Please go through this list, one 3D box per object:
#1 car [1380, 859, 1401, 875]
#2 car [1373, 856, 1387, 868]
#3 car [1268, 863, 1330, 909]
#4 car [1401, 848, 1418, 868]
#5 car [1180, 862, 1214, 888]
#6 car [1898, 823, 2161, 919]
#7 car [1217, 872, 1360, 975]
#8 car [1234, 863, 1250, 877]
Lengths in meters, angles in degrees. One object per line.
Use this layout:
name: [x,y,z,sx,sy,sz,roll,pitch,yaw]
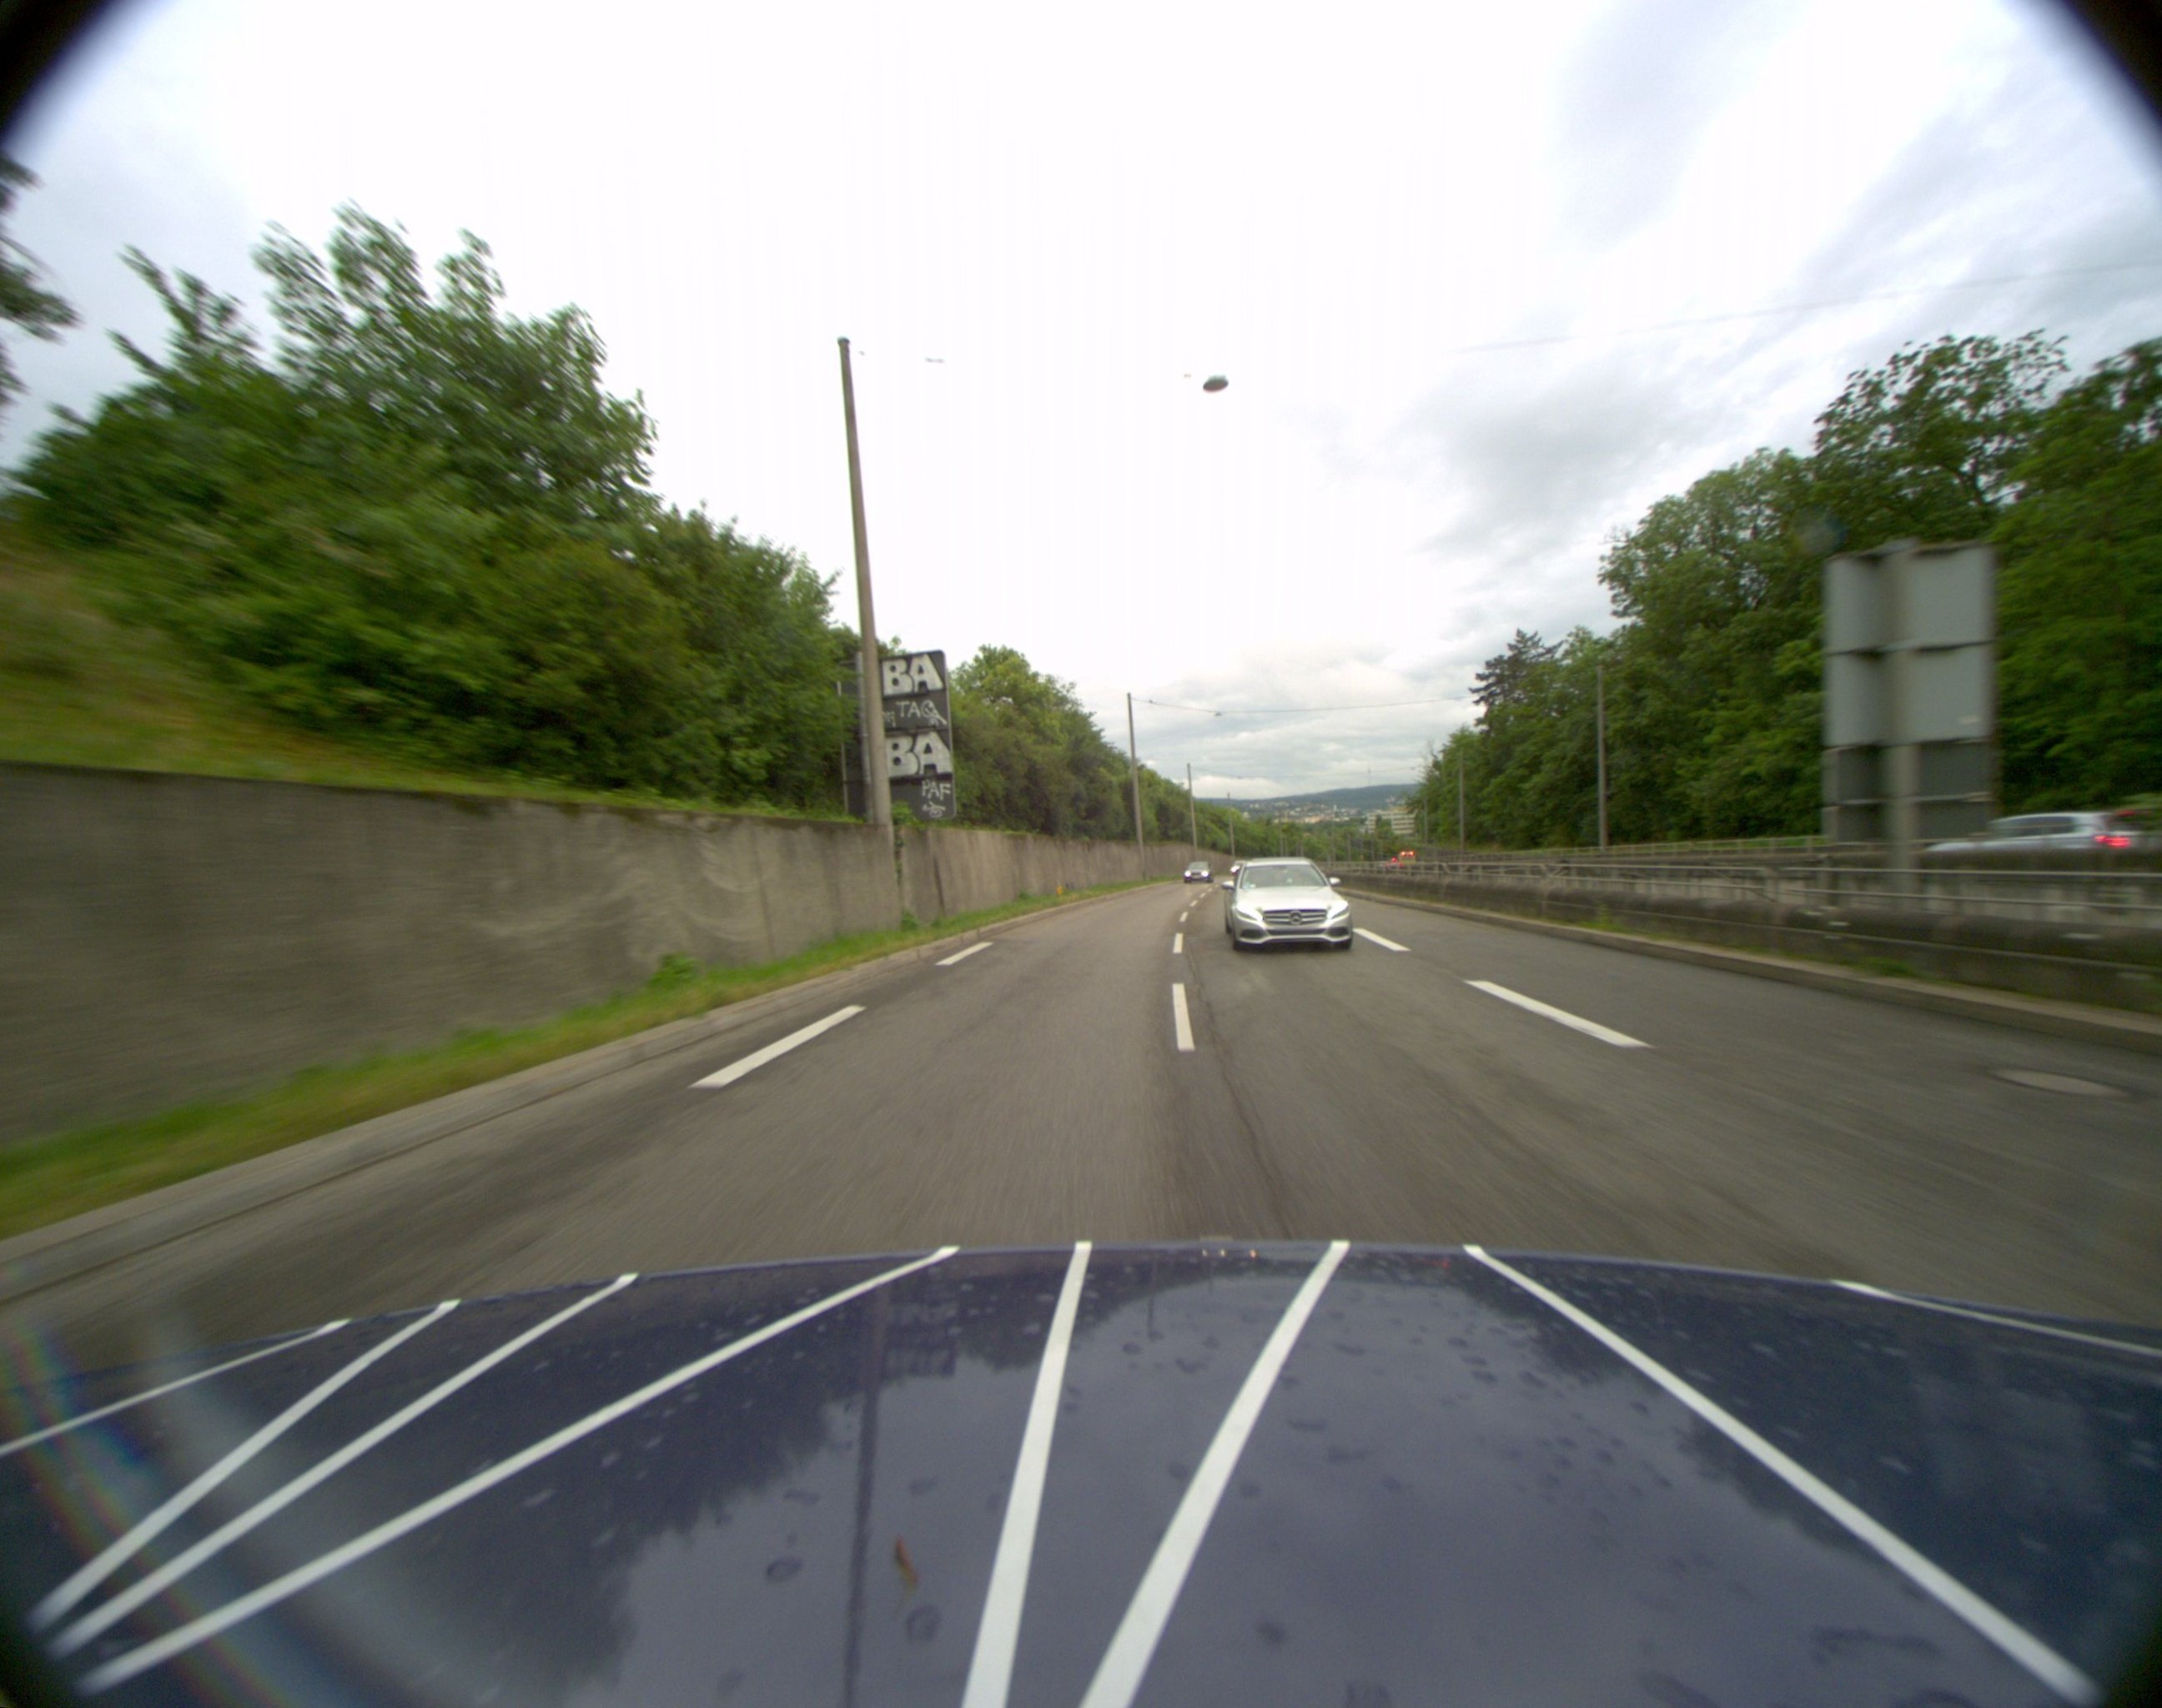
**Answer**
car: [35.036,1.413,86.063,1.963,1.739,4.147,-1,0,18]
car: [44.021,1.174,111.881,1.819,1.694,4.117,-1,0,22]
car: [7.709,1.077,27.159,1.728,1.462,3.891,-1,0,10]
car: [47.707,0.554,110.431,2.184,2.718,6.355,-1,0,23]
car: [7.817,1.374,50.942,1.808,1.501,4.004,-4,0,15]
car: [20.429,0.324,16.356,1.674,1.819,4.002,-1,0,7]
car: [3.406,1.069,13.239,1.860,1.394,4.318,-2,-1,9]
car: [20.389,1.957,96.107,1.808,1.501,4.003,-4,0,12]
